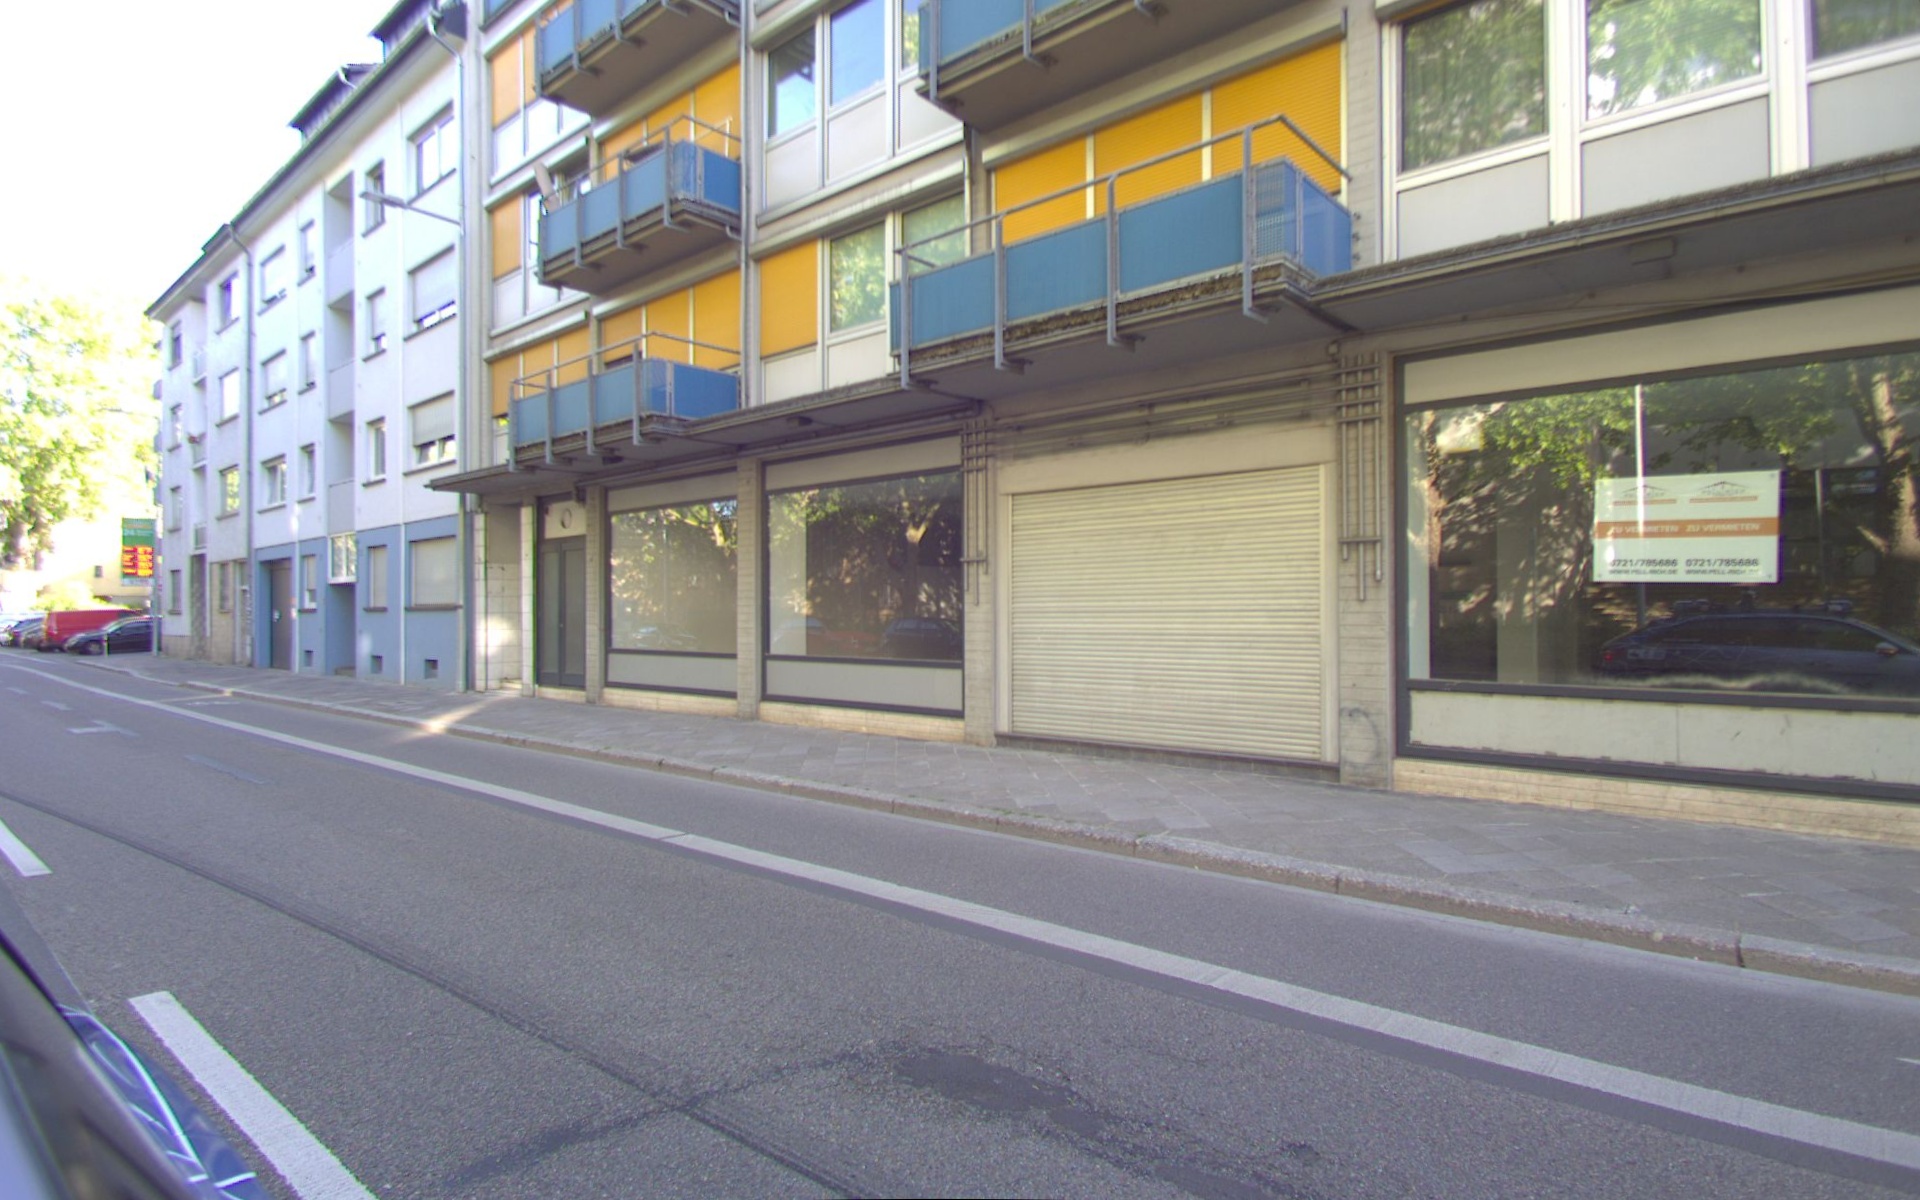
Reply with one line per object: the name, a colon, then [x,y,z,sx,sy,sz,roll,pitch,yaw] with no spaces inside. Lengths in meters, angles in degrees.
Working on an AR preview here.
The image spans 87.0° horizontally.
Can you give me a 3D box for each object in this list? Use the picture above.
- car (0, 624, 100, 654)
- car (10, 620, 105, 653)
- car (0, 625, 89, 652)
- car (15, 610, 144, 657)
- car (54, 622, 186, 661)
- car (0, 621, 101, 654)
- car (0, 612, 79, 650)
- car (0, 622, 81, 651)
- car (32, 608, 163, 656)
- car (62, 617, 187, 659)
car: [-50.453,2.155,56.154,1.915,1.466,3.945,-2,0,41]
car: [-48.805,1.952,54.761,1.830,1.524,3.647,-1,1,41]
car: [-54.384,2.269,59.982,1.852,1.444,3.945,-2,0,41]
car: [-42.825,1.589,49.277,2.056,1.966,4.475,-2,1,41]
car: [-36.652,1.777,44.239,2.045,1.390,4.184,-1,1,41]
car: [-52.429,2.124,58.377,2.027,1.696,4.150,-1,0,41]
car: [-59.419,1.987,64.392,2.139,2.233,4.794,-1,1,41]
car: [-56.030,2.226,61.330,1.852,1.571,3.945,-2,0,41]
car: [-40.567,1.479,47.661,2.145,1.966,4.375,-2,1,41]
car: [-37.946,1.691,46.042,1.886,1.575,4.129,-1,1,41]
